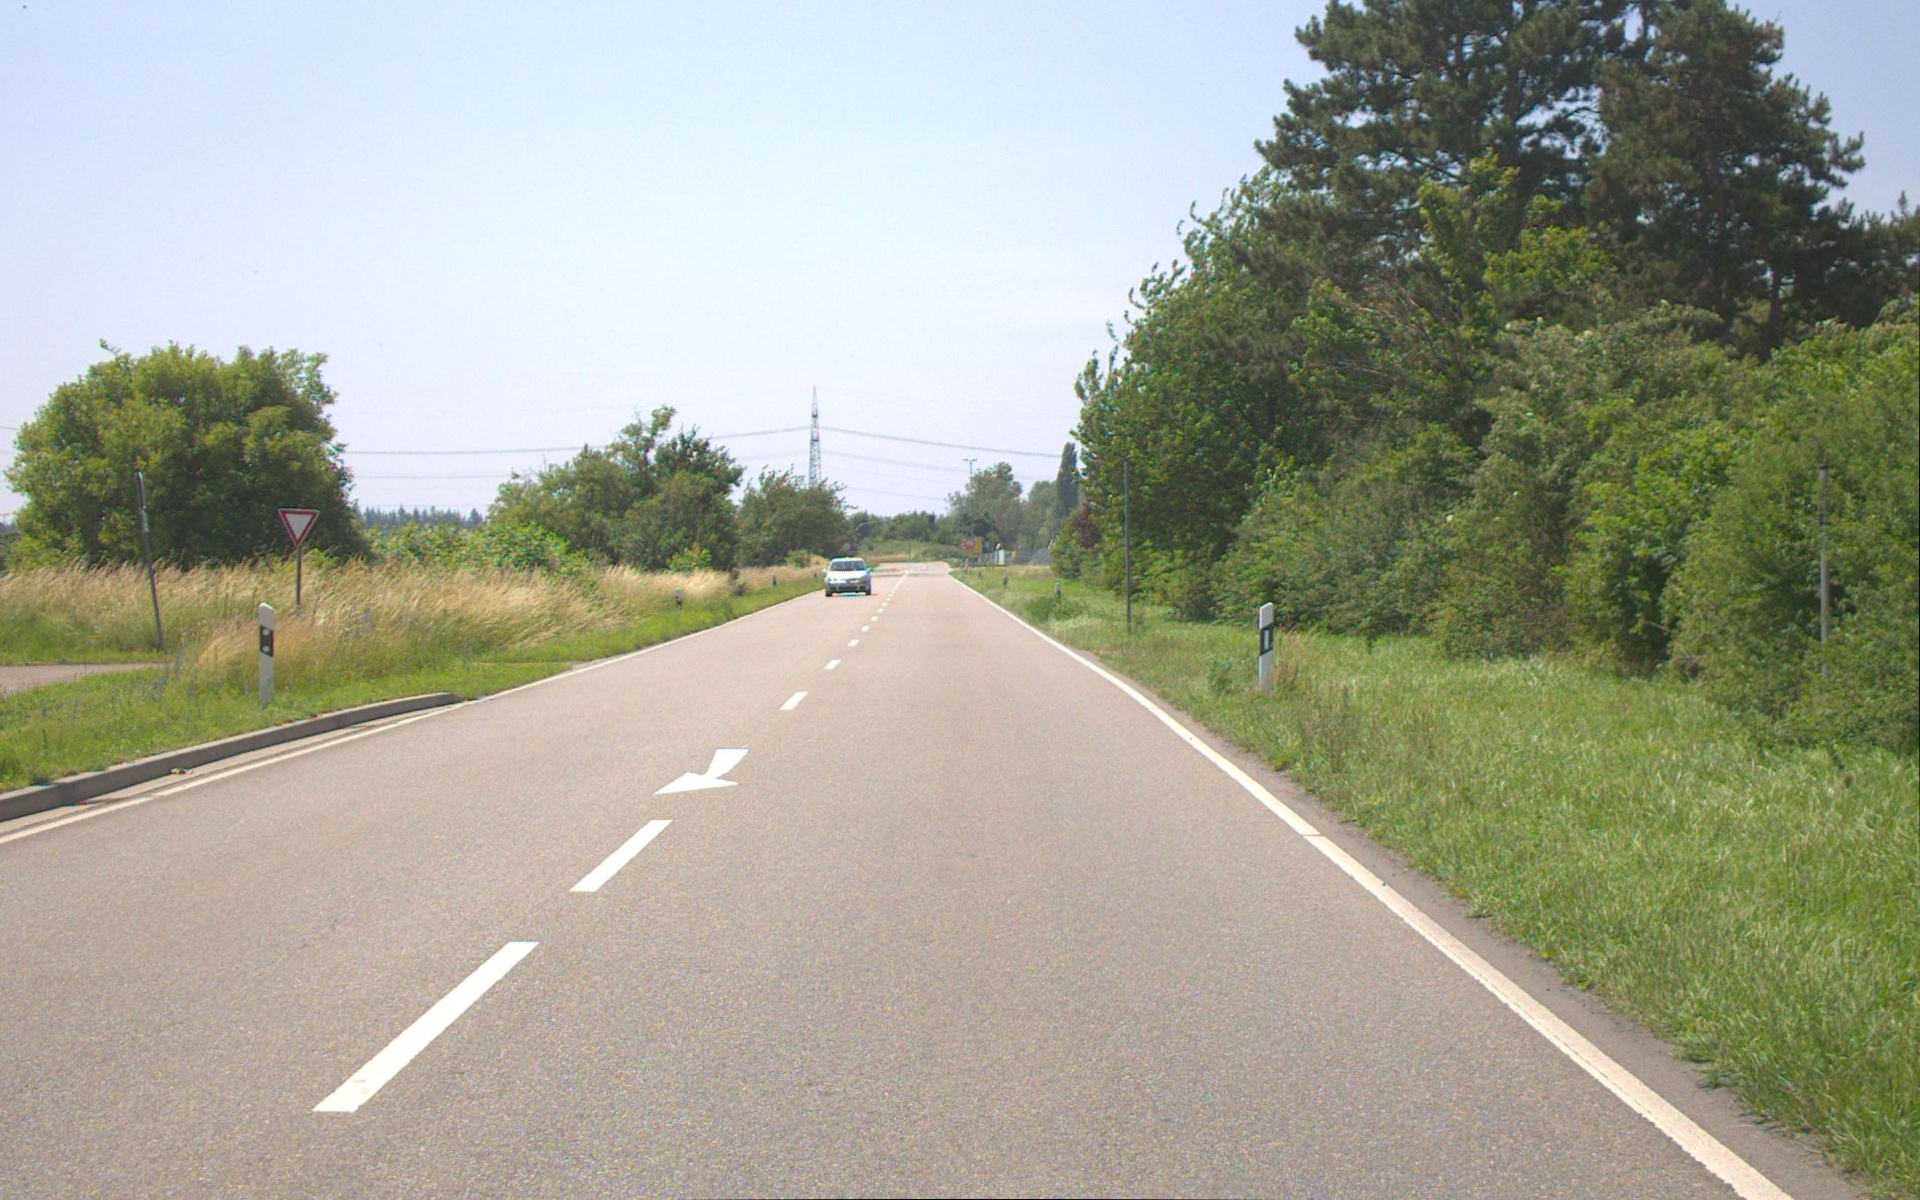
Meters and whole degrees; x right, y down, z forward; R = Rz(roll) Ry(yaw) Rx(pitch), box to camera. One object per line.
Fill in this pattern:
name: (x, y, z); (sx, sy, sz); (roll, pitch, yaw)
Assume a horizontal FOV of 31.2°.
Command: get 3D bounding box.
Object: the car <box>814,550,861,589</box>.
car: (-4.748, -1.211, 133.632); (1.678, 1.416, 4.422); (-2, 1, -1)
